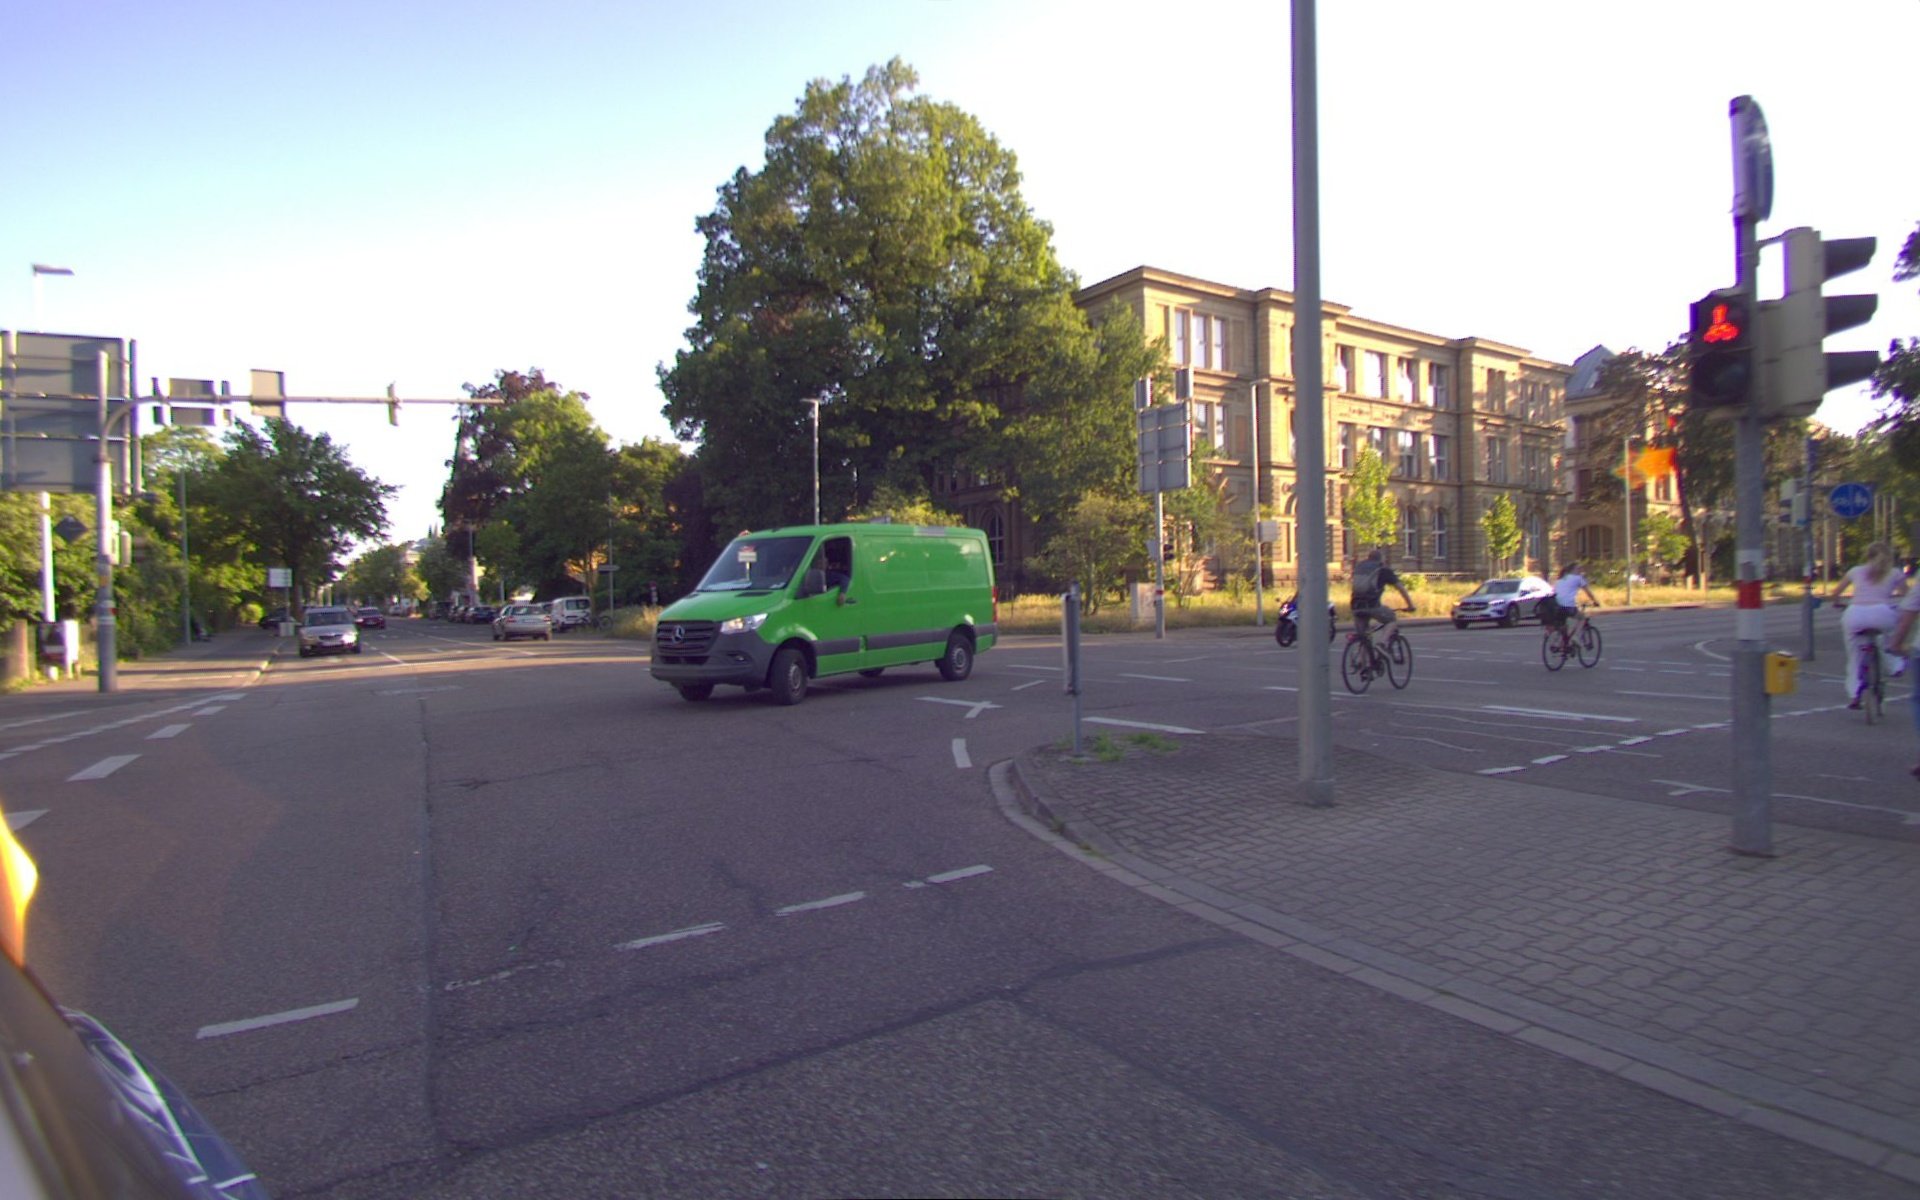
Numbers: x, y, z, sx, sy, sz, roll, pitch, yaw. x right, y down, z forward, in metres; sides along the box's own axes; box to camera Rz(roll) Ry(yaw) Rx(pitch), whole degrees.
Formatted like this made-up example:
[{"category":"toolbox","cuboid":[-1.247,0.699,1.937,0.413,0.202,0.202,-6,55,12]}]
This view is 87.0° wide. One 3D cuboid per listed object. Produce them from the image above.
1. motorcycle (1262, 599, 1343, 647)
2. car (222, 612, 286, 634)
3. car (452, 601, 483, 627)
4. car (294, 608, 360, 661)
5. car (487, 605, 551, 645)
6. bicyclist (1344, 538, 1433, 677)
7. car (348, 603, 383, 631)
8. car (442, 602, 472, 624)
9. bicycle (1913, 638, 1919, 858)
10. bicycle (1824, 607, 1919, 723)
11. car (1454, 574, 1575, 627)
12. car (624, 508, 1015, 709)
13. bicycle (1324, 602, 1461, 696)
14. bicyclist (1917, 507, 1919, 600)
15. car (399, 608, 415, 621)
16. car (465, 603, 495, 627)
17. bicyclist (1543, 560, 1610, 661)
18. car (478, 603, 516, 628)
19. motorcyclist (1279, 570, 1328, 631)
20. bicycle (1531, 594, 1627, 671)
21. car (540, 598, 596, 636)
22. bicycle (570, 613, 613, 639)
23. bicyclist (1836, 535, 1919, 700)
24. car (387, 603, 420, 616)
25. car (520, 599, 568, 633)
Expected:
[{"category":"motorcycle","cuboid":[7.836,0.517,23.132,1.847,1.009,0.758,-1,0,-33]},{"category":"car","cuboid":[-53.911,1.748,77.342,3.803,1.519,1.805,0,1,7]},{"category":"car","cuboid":[-42.423,1.195,87.097,1.966,2.029,4.011,-1,1,-33]},{"category":"car","cuboid":[-20.673,1.093,33.069,1.663,1.521,3.711,-4,2,-32]},{"category":"car","cuboid":[-17.298,0.964,39.596,1.706,1.419,4.152,-2,0,-32]},{"category":"bicyclist","cuboid":[5.362,0.077,12.682,0.785,1.679,0.703,-1,1,-33]},{"category":"car","cuboid":[-40.127,1.135,68.353,1.966,1.807,4.012,-1,0,-30]},{"category":"car","cuboid":[-45.560,1.194,91.650,1.966,1.829,4.012,-1,1,-32]},{"category":"bicycle","cuboid":[5.344,0.681,5.150,1.774,1.022,0.566,-1,0,-42]},{"category":"bicycle","cuboid":[9.063,0.580,9.796,1.984,1.014,0.774,0,0,-41]},{"category":"car","cuboid":[18.674,0.004,34.006,4.438,1.647,1.775,-1,0,-35]},{"category":"car","cuboid":[-1.679,0.068,14.526,2.041,2.295,5.869,-1,0,36]},{"category":"bicycle","cuboid":[5.460,0.578,12.749,1.794,1.071,0.703,-1,1,-33]},{"category":"bicyclist","cuboid":[5.254,0.321,5.079,0.885,1.581,0.556,-1,0,-42]},{"category":"car","cuboid":[-71.890,1.881,131.590,1.649,1.741,3.647,-1,0,-32]},{"category":"car","cuboid":[-39.171,1.204,82.501,1.769,1.741,4.012,-1,1,-32]},{"category":"bicyclist","cuboid":[10.051,0.148,16.512,0.894,1.598,0.607,-1,1,-33]},{"category":"car","cuboid":[-32.417,1.078,70.857,1.905,1.655,4.011,-1,0,-32]},{"category":"motorcyclist","cuboid":[7.855,0.020,23.162,0.692,1.368,0.754,-1,-1,-33]},{"category":"bicycle","cuboid":[10.146,0.502,16.566,1.853,1.146,0.617,-2,1,-33]},{"category":"car","cuboid":[-20.576,0.865,53.093,1.831,1.859,4.131,-1,0,-34]},{"category":"bicycle","cuboid":[-17.967,1.265,49.382,1.845,1.165,0.755,-1,1,-29]},{"category":"bicyclist","cuboid":[9.072,0.159,9.804,0.843,1.529,0.763,-1,0,-41]},{"category":"car","cuboid":[-74.507,1.267,135.518,3.695,1.630,1.828,-1,0,-31]},{"category":"car","cuboid":[-23.946,0.900,58.172,1.831,1.859,4.199,-1,0,-33]}]
